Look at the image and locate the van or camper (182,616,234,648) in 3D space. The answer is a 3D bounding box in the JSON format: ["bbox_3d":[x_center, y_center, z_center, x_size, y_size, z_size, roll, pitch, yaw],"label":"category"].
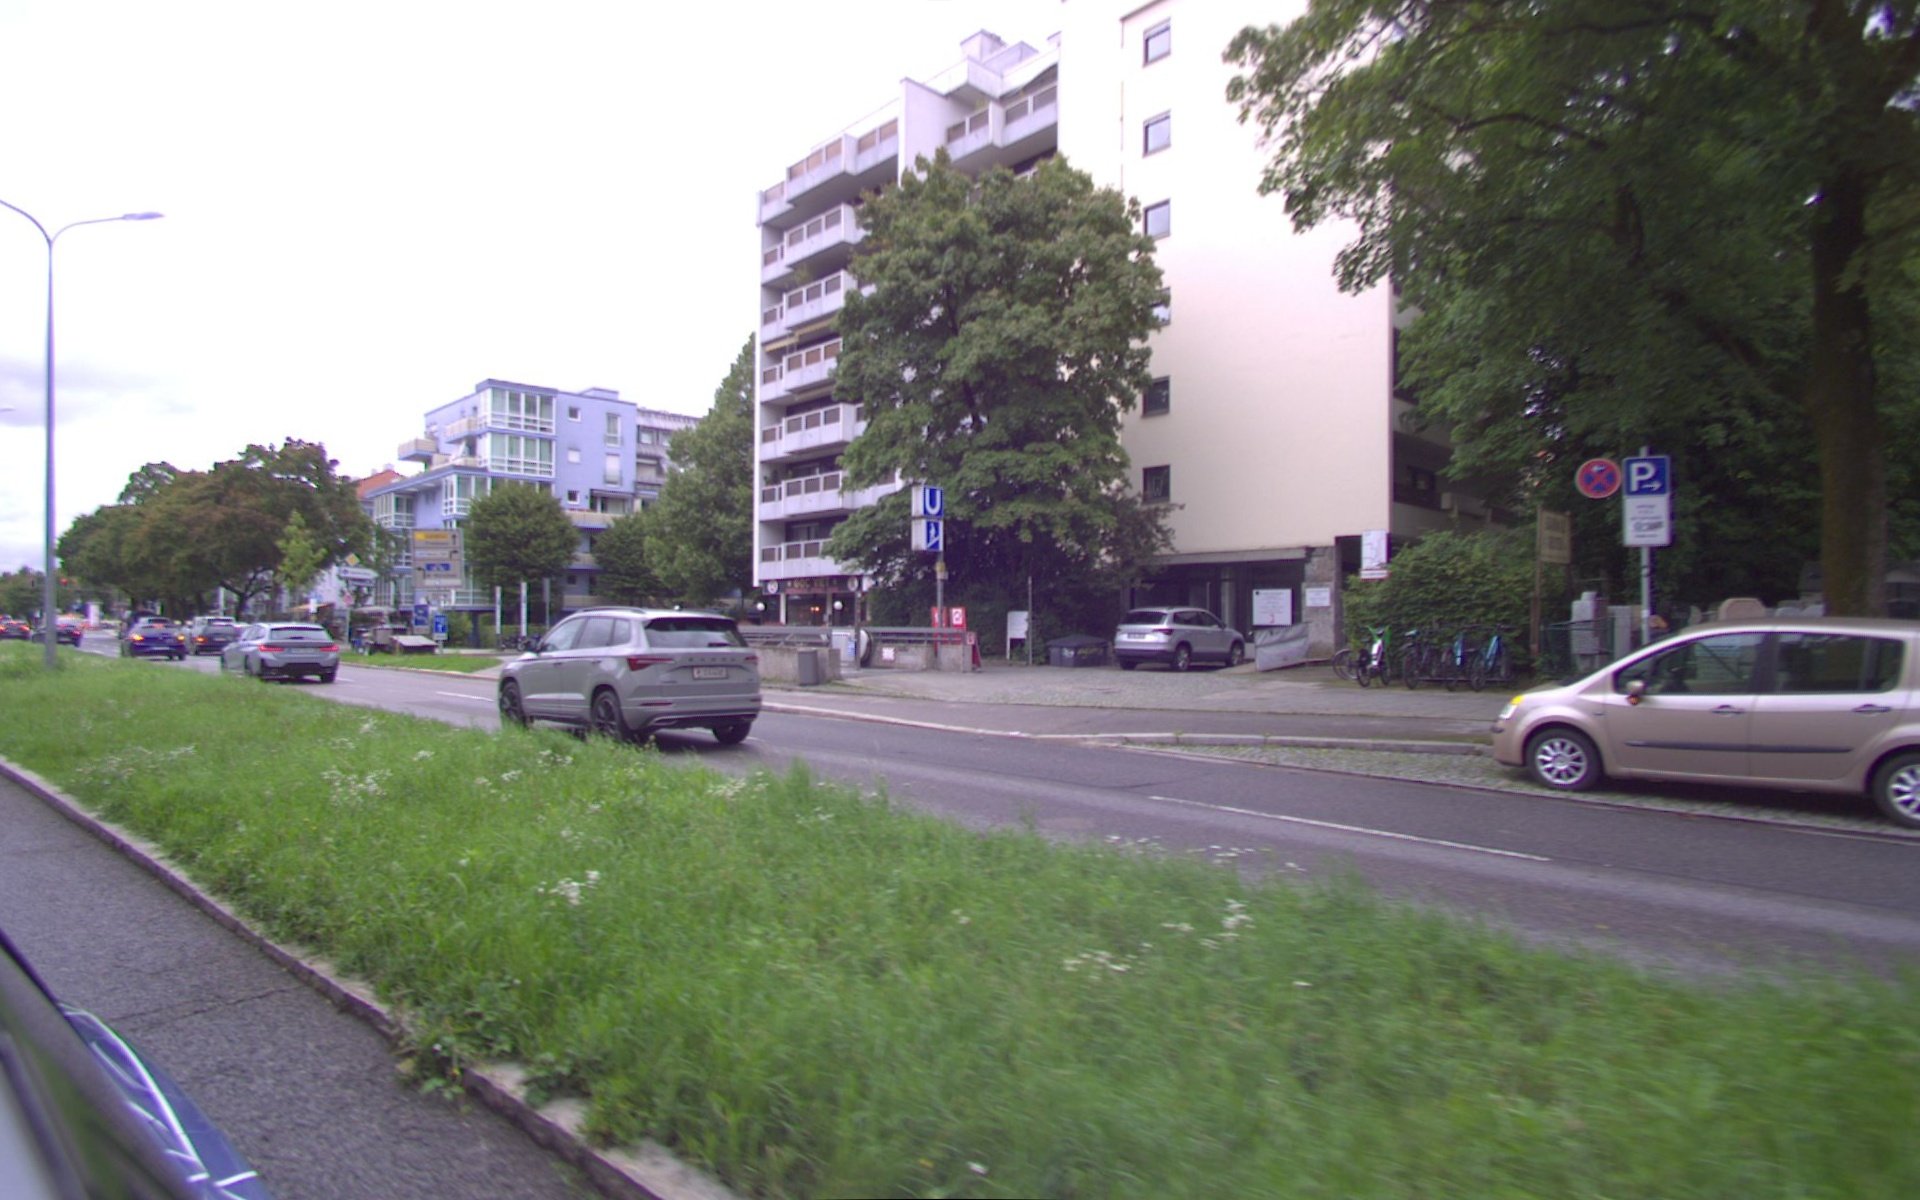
[{"bbox_3d":[-47.663,2.009,64.124,5.212,1.983,1.784,-1,-3,44],"label":"van or camper"}]

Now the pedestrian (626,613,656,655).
[{"bbox_3d":[-13.340,1.426,42.271,1.130,1.721,0.662,-1,-2,39],"label":"pedestrian"}]

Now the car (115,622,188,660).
[{"bbox_3d":[-31.742,1.586,39.696,3.968,1.413,1.673,-1,-2,44],"label":"car"}]

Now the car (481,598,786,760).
[{"bbox_3d":[-4.146,0.864,12.451,4.378,1.637,1.746,-2,-3,45],"label":"car"}]

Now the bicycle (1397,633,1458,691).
[{"bbox_3d":[8.531,1.107,18.439,0.437,1.014,1.742,-2,-3,44],"label":"bicycle"}]

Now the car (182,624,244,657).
[{"bbox_3d":[-35.148,1.874,47.585,3.968,1.495,1.673,-2,-2,43],"label":"car"}]

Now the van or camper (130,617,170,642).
[{"bbox_3d":[-65.997,2.418,82.452,4.706,1.957,1.997,-2,-3,45],"label":"van or camper"}]

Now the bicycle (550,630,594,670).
[{"bbox_3d":[-11.433,1.461,29.789,0.403,1.097,2.086,-4,1,-43],"label":"bicycle"}]

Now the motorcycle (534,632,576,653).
[{"bbox_3d":[-23.513,2.460,58.768,2.456,1.141,0.496,0,-2,16],"label":"motorcycle"}]

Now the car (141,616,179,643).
[{"bbox_3d":[-61.777,2.288,78.130,1.776,2.013,4.548,2,-2,-45],"label":"car"}]

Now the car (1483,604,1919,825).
[{"bbox_3d":[6.929,0.874,8.889,1.628,1.626,3.822,0,-1,-44],"label":"car"}]

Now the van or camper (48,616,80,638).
[{"bbox_3d":[-88.376,2.670,99.806,5.200,2.031,1.993,-1,-3,44],"label":"van or camper"}]

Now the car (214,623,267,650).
[{"bbox_3d":[-40.458,2.042,56.879,3.902,1.501,1.629,-1,-3,43],"label":"car"}]

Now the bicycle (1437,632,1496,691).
[{"bbox_3d":[9.079,1.073,18.101,0.437,1.014,1.742,-2,-3,44],"label":"bicycle"}]

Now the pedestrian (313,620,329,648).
[{"bbox_3d":[-42.119,2.218,66.684,0.779,1.819,0.636,-1,-3,39],"label":"pedestrian"}]

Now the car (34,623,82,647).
[{"bbox_3d":[-54.783,2.092,61.445,4.101,1.416,1.763,-1,-2,43],"label":"car"}]

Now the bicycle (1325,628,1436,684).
[{"bbox_3d":[8.561,1.121,20.677,0.572,1.107,2.033,2,-3,-45],"label":"bicycle"}]

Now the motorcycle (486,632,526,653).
[{"bbox_3d":[-25.583,2.392,57.008,2.462,1.141,0.494,0,-2,23],"label":"motorcycle"}]

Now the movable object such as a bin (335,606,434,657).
[{"bbox_3d":[-23.382,1.269,41.071,3.995,1.968,2.171,-1,-2,39],"label":"movable object such as a bin"}]

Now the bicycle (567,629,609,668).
[{"bbox_3d":[-11.106,1.429,30.190,0.403,1.086,1.956,-4,1,-43],"label":"bicycle"}]

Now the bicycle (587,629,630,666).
[{"bbox_3d":[-10.676,1.422,30.697,0.403,1.048,1.956,-4,1,-43],"label":"bicycle"}]

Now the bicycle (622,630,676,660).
[{"bbox_3d":[-11.945,1.728,38.915,1.924,1.112,0.560,2,-2,-42],"label":"bicycle"}]

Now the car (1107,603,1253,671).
[{"bbox_3d":[5.657,0.931,25.796,3.940,1.601,1.750,2,-3,-44],"label":"car"}]

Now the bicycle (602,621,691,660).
[{"bbox_3d":[-12.433,1.589,40.278,3.287,1.292,0.789,-4,2,-42],"label":"bicycle"}]

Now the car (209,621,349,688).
[{"bbox_3d":[-16.978,1.297,25.124,4.866,1.495,1.894,-1,-3,44],"label":"car"}]

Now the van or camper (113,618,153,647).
[{"bbox_3d":[-72.806,2.832,89.086,5.549,2.506,2.027,-1,-3,44],"label":"van or camper"}]

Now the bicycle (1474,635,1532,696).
[{"bbox_3d":[9.505,1.114,17.686,0.437,1.014,1.742,-2,-3,44],"label":"bicycle"}]

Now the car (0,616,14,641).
[{"bbox_3d":[-81.831,2.417,85.978,1.917,2.013,4.706,2,-3,-45],"label":"car"}]

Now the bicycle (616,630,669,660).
[{"bbox_3d":[-12.330,1.745,39.361,1.924,1.112,0.560,2,-2,-42],"label":"bicycle"}]

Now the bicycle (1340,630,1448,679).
[{"bbox_3d":[9.233,1.138,21.594,0.572,1.014,2.033,2,-3,-45],"label":"bicycle"}]

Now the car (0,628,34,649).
[{"bbox_3d":[-69.455,2.789,74.302,1.935,1.491,4.261,2,-3,-45],"label":"car"}]

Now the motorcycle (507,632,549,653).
[{"bbox_3d":[-24.698,2.424,57.810,2.457,1.141,0.495,0,-2,18],"label":"motorcycle"}]

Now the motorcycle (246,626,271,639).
[{"bbox_3d":[-63.019,2.906,90.905,0.463,1.179,1.790,-1,-3,40],"label":"motorcycle"}]

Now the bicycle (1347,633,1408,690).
[{"bbox_3d":[7.836,1.129,18.968,0.437,1.014,1.742,-2,-3,44],"label":"bicycle"}]

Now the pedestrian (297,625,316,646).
[{"bbox_3d":[-49.301,2.668,76.376,0.766,1.615,0.964,-1,-3,37],"label":"pedestrian"}]

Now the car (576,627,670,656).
[{"bbox_3d":[-20.385,2.499,61.380,2.000,1.695,5.046,-2,-3,43],"label":"car"}]
